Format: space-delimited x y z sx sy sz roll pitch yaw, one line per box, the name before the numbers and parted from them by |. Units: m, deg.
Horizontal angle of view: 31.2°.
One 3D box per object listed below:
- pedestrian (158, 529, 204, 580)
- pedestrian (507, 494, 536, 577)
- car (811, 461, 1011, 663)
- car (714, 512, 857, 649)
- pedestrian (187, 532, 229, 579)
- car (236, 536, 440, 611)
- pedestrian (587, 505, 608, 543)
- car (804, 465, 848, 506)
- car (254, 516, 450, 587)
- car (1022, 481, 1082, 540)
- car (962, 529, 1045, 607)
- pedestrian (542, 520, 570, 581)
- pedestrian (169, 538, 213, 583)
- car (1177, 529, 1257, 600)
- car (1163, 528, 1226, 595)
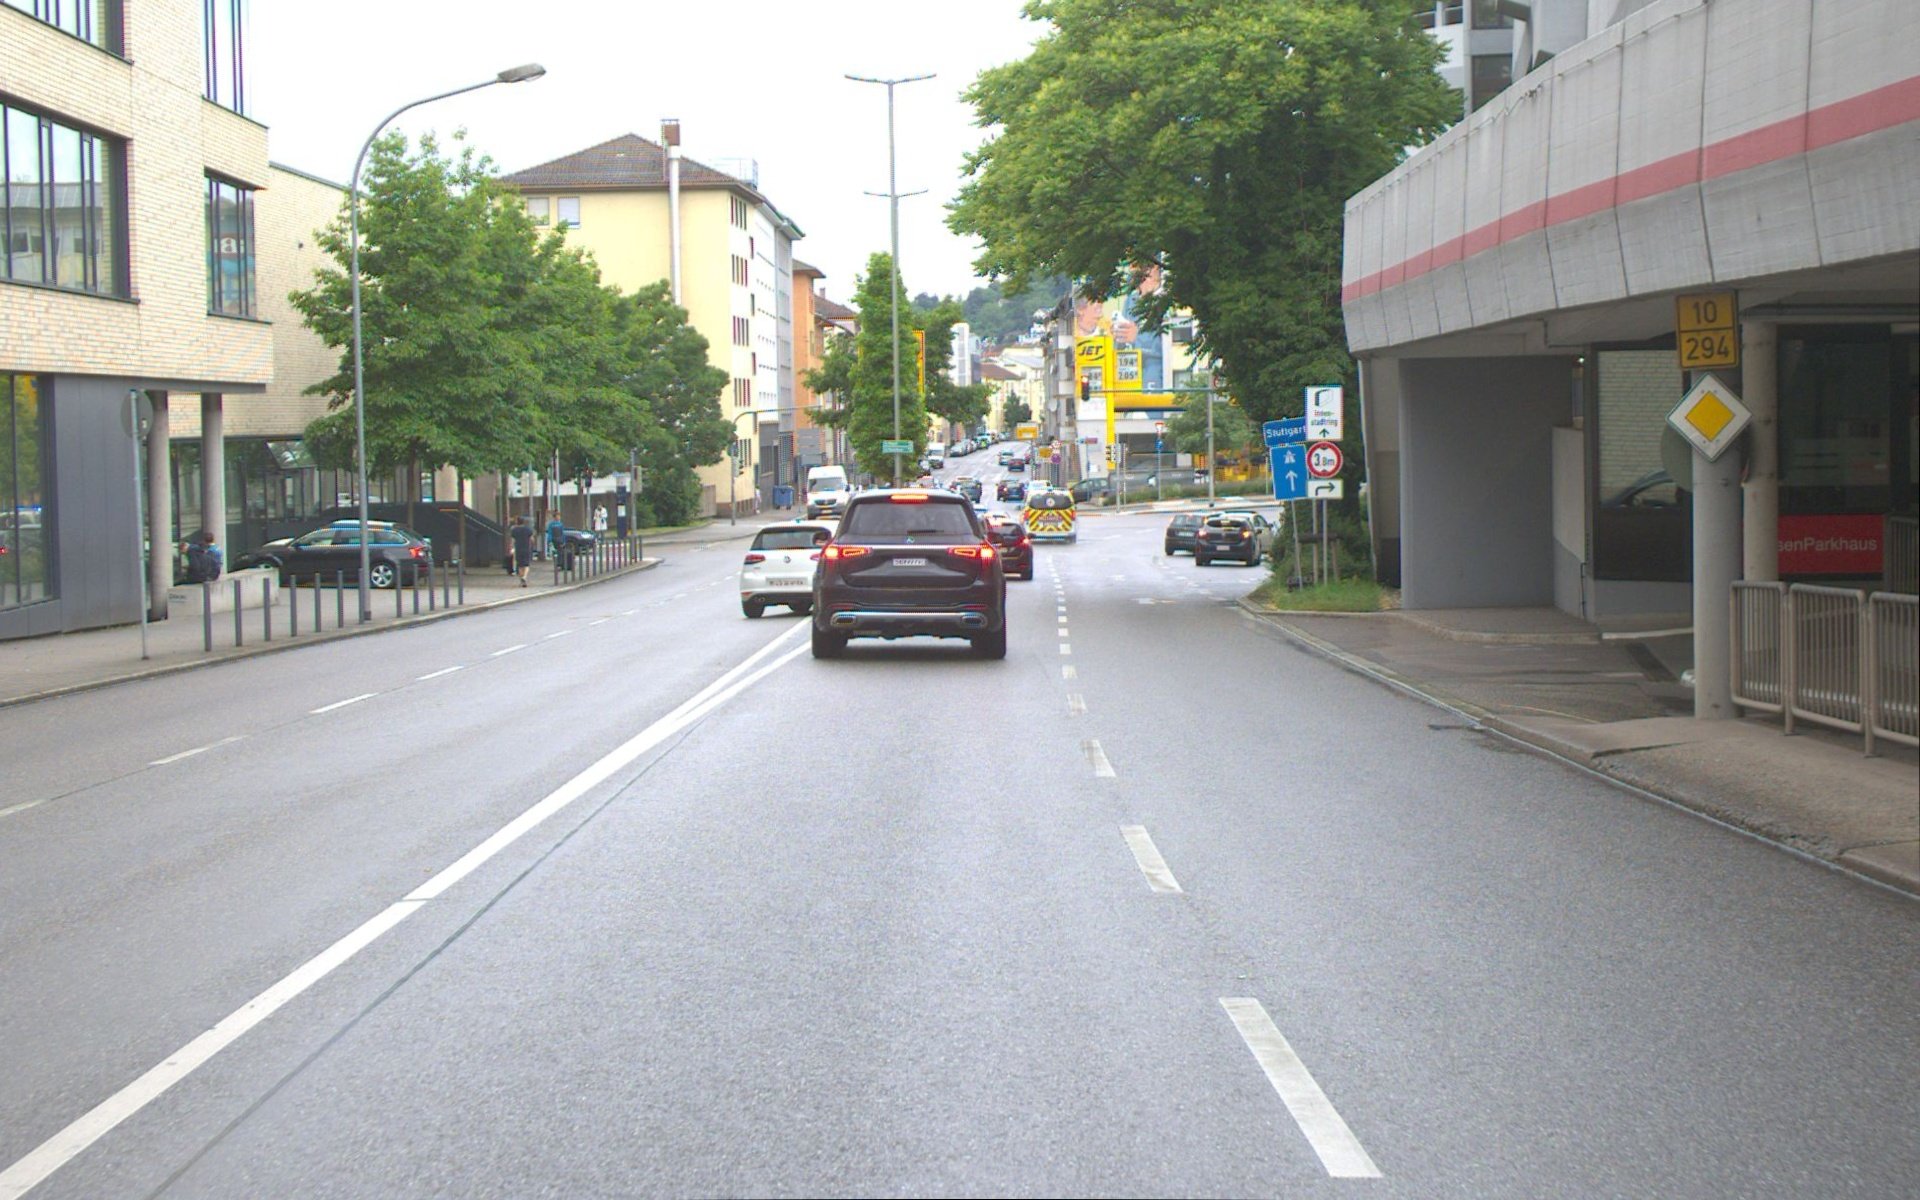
pedestrian | -13.770 -0.797 60.765 0.681 0.883 0.524 1 1 1
pedestrian | -10.782 -1.582 84.540 0.588 2.007 0.749 1 0 -1
car | -0.507 -0.413 36.910 1.993 2.007 4.000 1 1 0
car | -2.678 -0.314 53.486 1.993 2.007 4.000 1 1 0
pedestrian | -13.591 -0.801 62.120 0.586 0.842 0.727 0 1 1
car | -14.457 -0.626 80.097 4.467 1.581 2.000 -2 2 -5
pedestrian | -14.016 -2.926 132.850 0.711 1.457 0.598 1 0 0
car | -6.637 -5.659 170.133 1.993 1.868 5.142 1 1 -1
car | -14.533 -1.169 82.377 4.415 1.568 2.001 1 3 -4
car | 3.268 -3.168 122.874 1.993 2.007 4.000 1 1 0
car | 0.990 -0.734 79.085 1.703 1.710 3.444 1 1 -2
pedestrian | -11.627 -1.415 98.948 0.688 1.720 0.754 1 -2 1
pedestrian | -13.682 -0.703 61.184 0.598 0.783 0.760 1 1 1
car | 7.578 -1.082 101.751 1.993 2.006 4.001 0 2 -1
car | 7.738 -1.264 113.592 1.994 2.121 4.000 1 1 3
